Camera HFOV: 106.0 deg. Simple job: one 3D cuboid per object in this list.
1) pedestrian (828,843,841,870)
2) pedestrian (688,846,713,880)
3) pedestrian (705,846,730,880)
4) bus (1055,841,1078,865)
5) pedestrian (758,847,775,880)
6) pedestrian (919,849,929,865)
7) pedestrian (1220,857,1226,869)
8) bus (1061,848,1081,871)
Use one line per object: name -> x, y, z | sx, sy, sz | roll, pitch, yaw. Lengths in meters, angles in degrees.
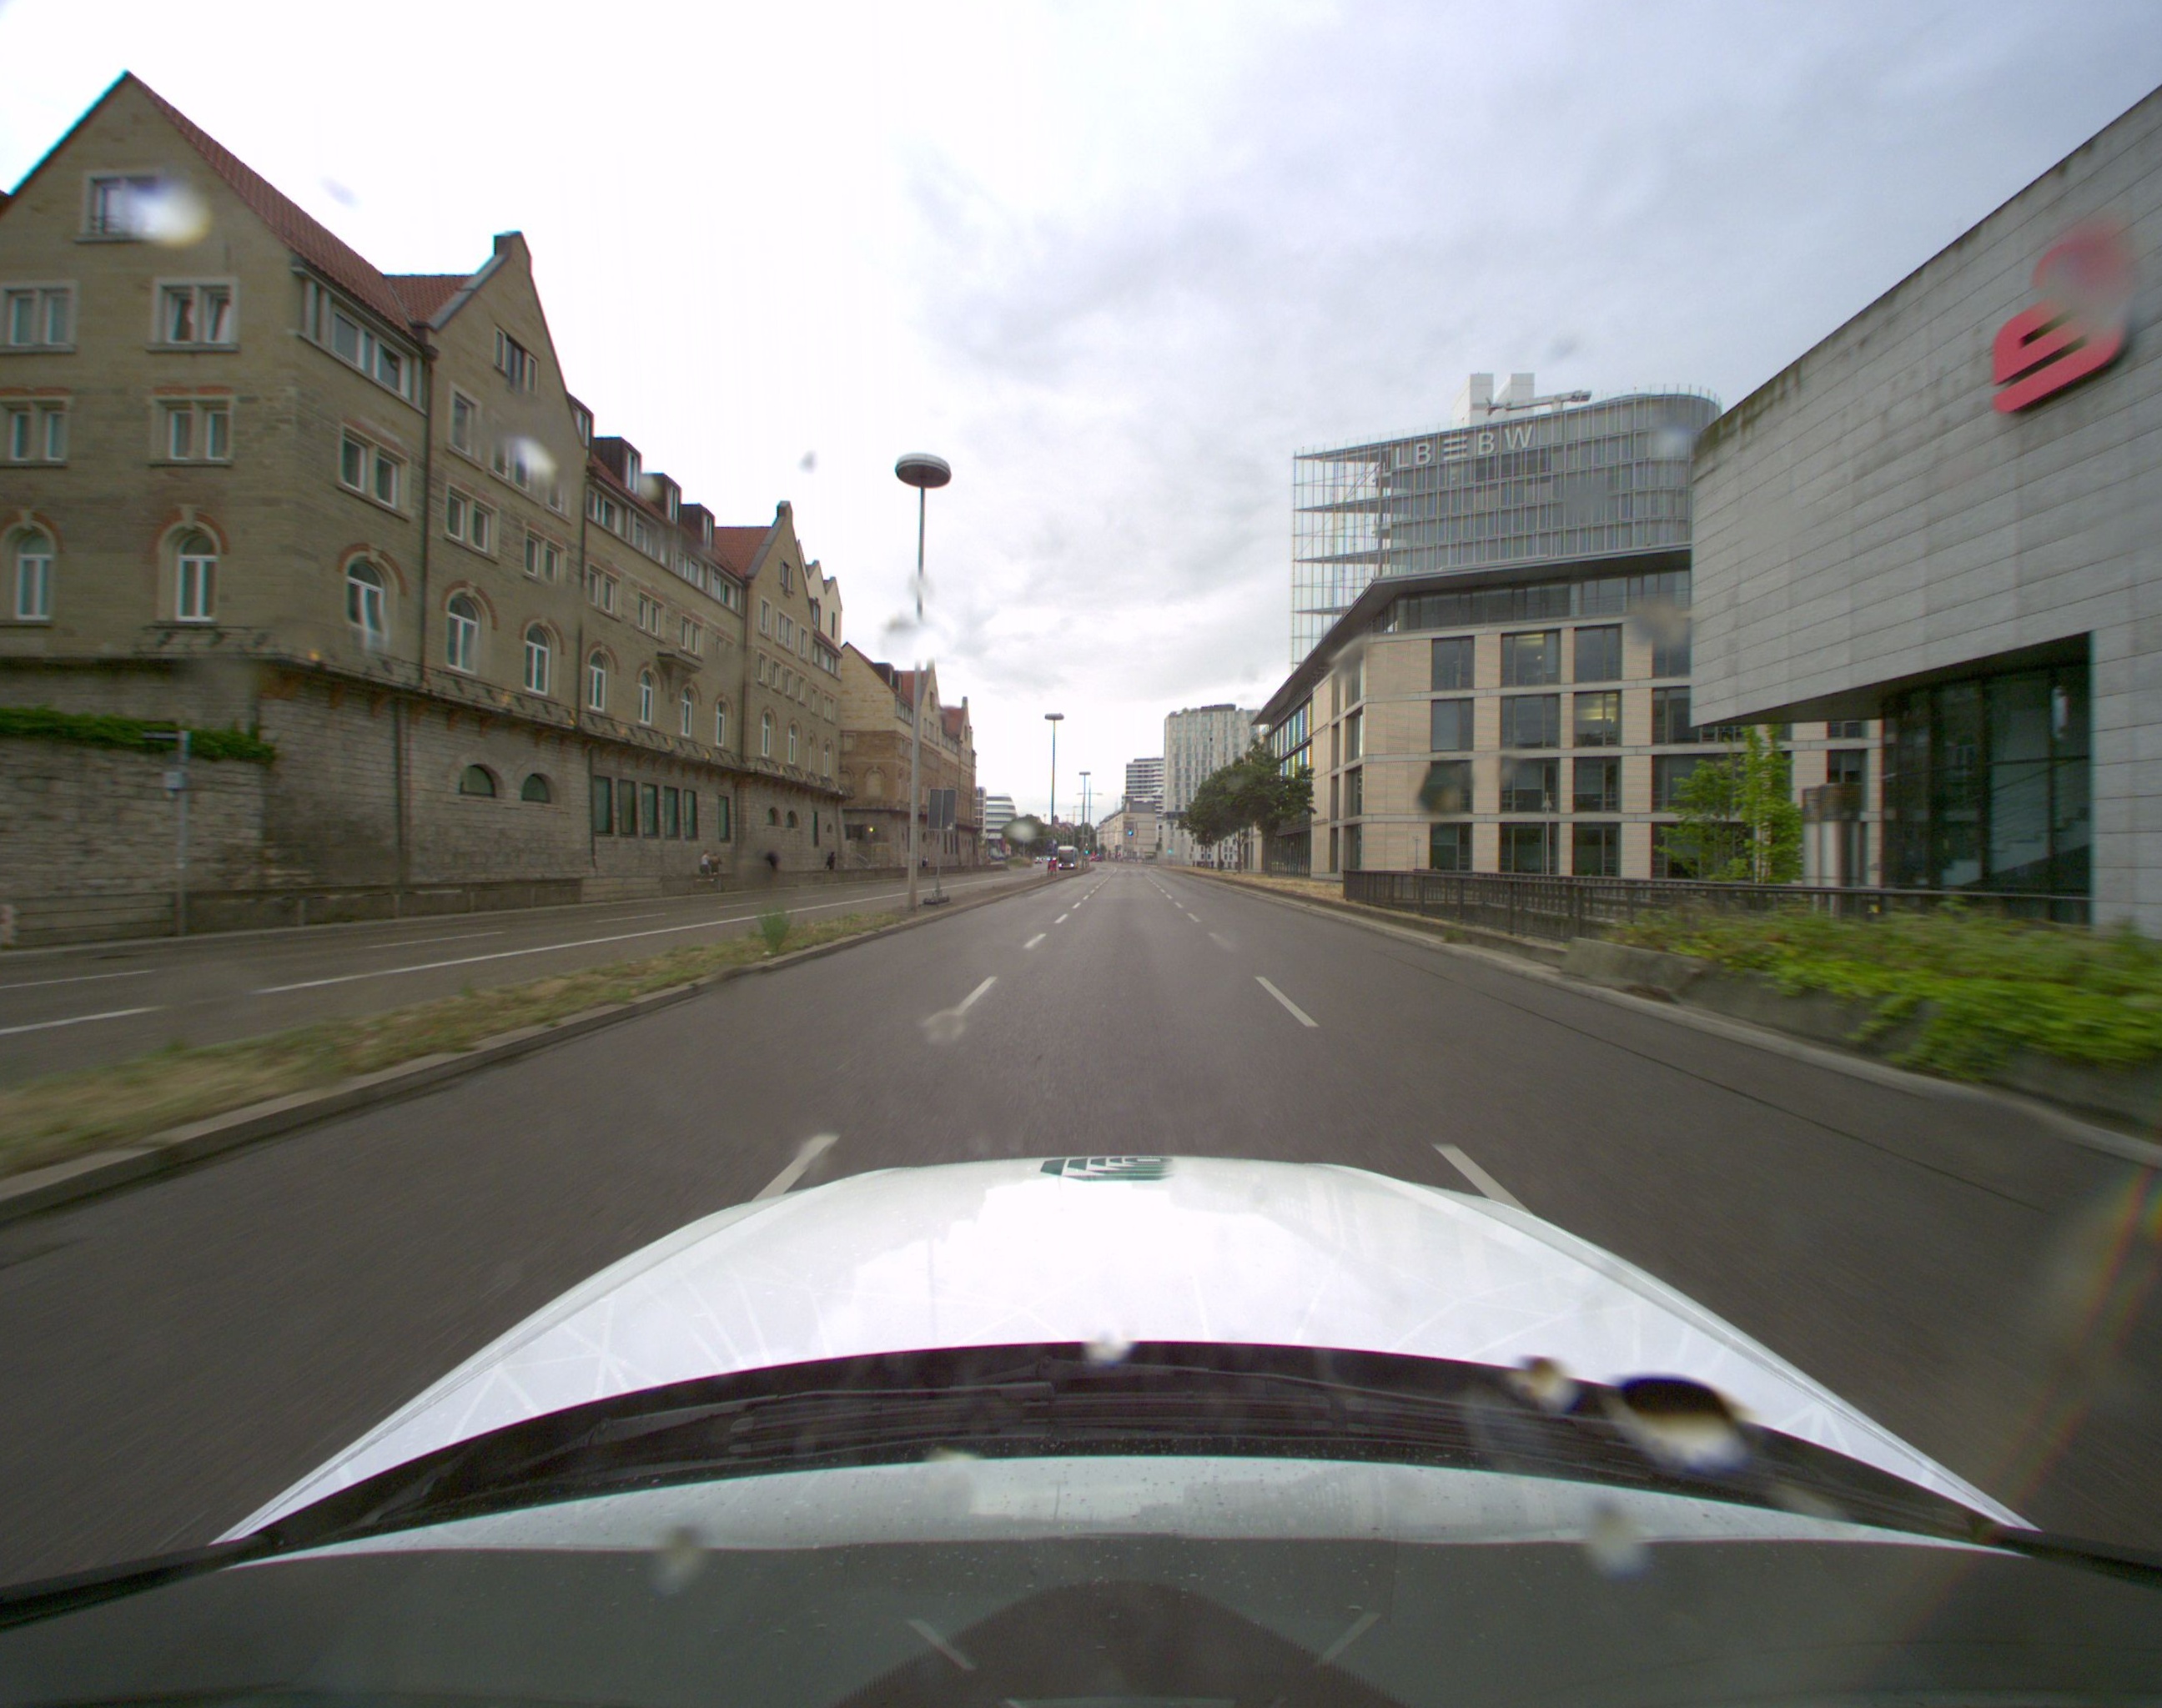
pedestrian -> -16.155, 0.146, 53.353 | 0.638, 1.745, 0.621 | -1, 1, 1
pedestrian -> -16.881, 0.401, 36.127 | 0.751, 1.477, 0.714 | -1, 1, 2
pedestrian -> -16.103, 0.410, 36.107 | 0.751, 1.477, 0.714 | -1, 1, 2
bus -> -2.104, -0.129, 122.802 | 2.687, 3.559, 10.100 | -1, 0, 3
pedestrian -> -16.949, 0.511, 43.952 | 0.638, 1.745, 0.621 | -1, 1, 1
pedestrian -> -15.015, 0.271, 77.802 | 0.751, 1.477, 0.714 | -1, 1, 2
pedestrian -> 19.502, 1.193, 111.714 | 0.544, 1.578, 0.675 | 0, 1, 37
bus -> -1.537, 0.845, 133.486 | 2.687, 3.559, 10.100 | -1, 0, 3
